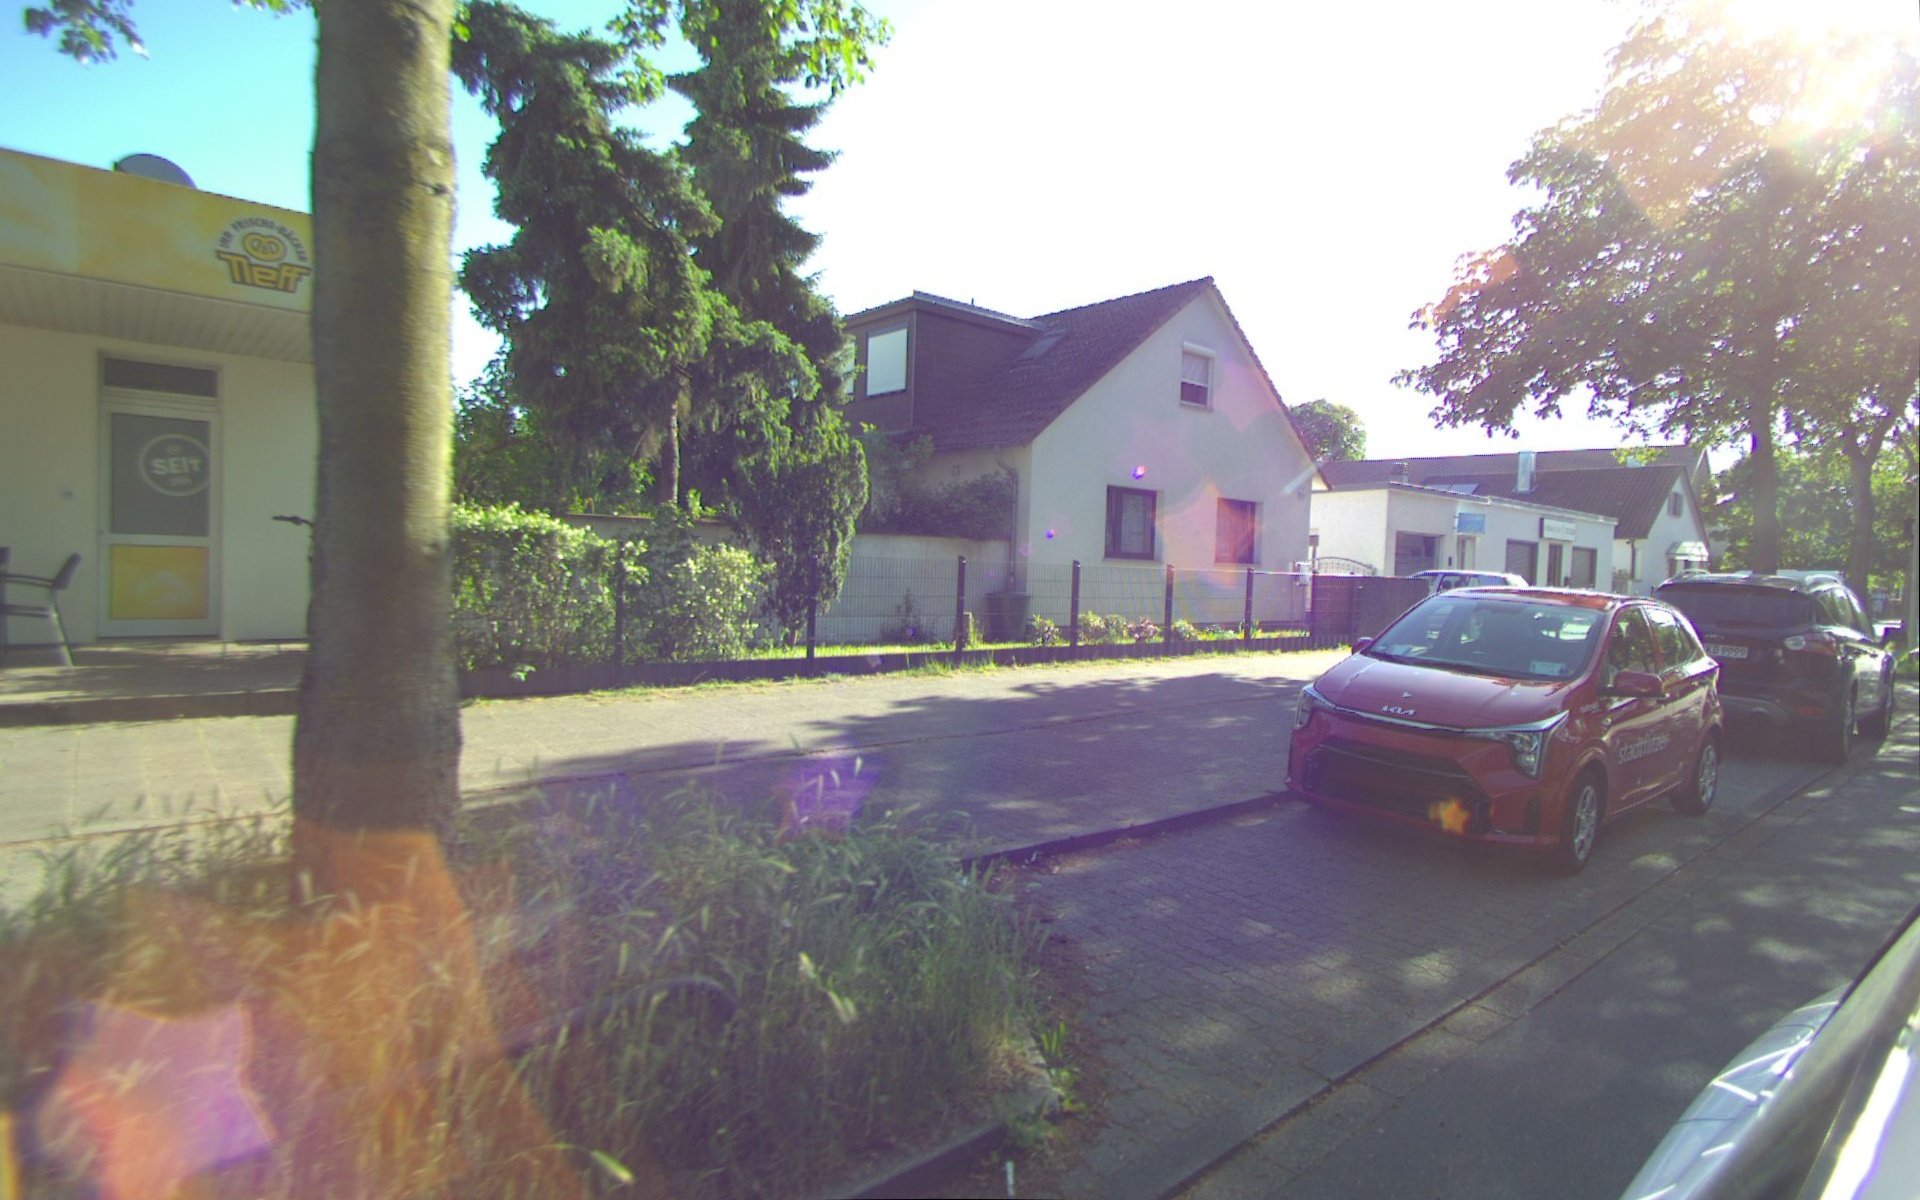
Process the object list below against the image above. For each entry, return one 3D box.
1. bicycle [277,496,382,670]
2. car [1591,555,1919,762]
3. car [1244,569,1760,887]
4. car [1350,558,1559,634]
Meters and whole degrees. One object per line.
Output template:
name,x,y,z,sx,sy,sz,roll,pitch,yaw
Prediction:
bicycle,-5.103,-0.181,8.153,0.370,1.260,1.574,-1,5,-45
car,8.483,0.443,10.520,4.284,1.715,1.942,0,2,-39
car,3.688,0.556,6.640,3.711,1.439,1.690,-1,5,-40
car,10.352,-0.081,21.333,1.668,1.457,3.614,-1,0,-43
